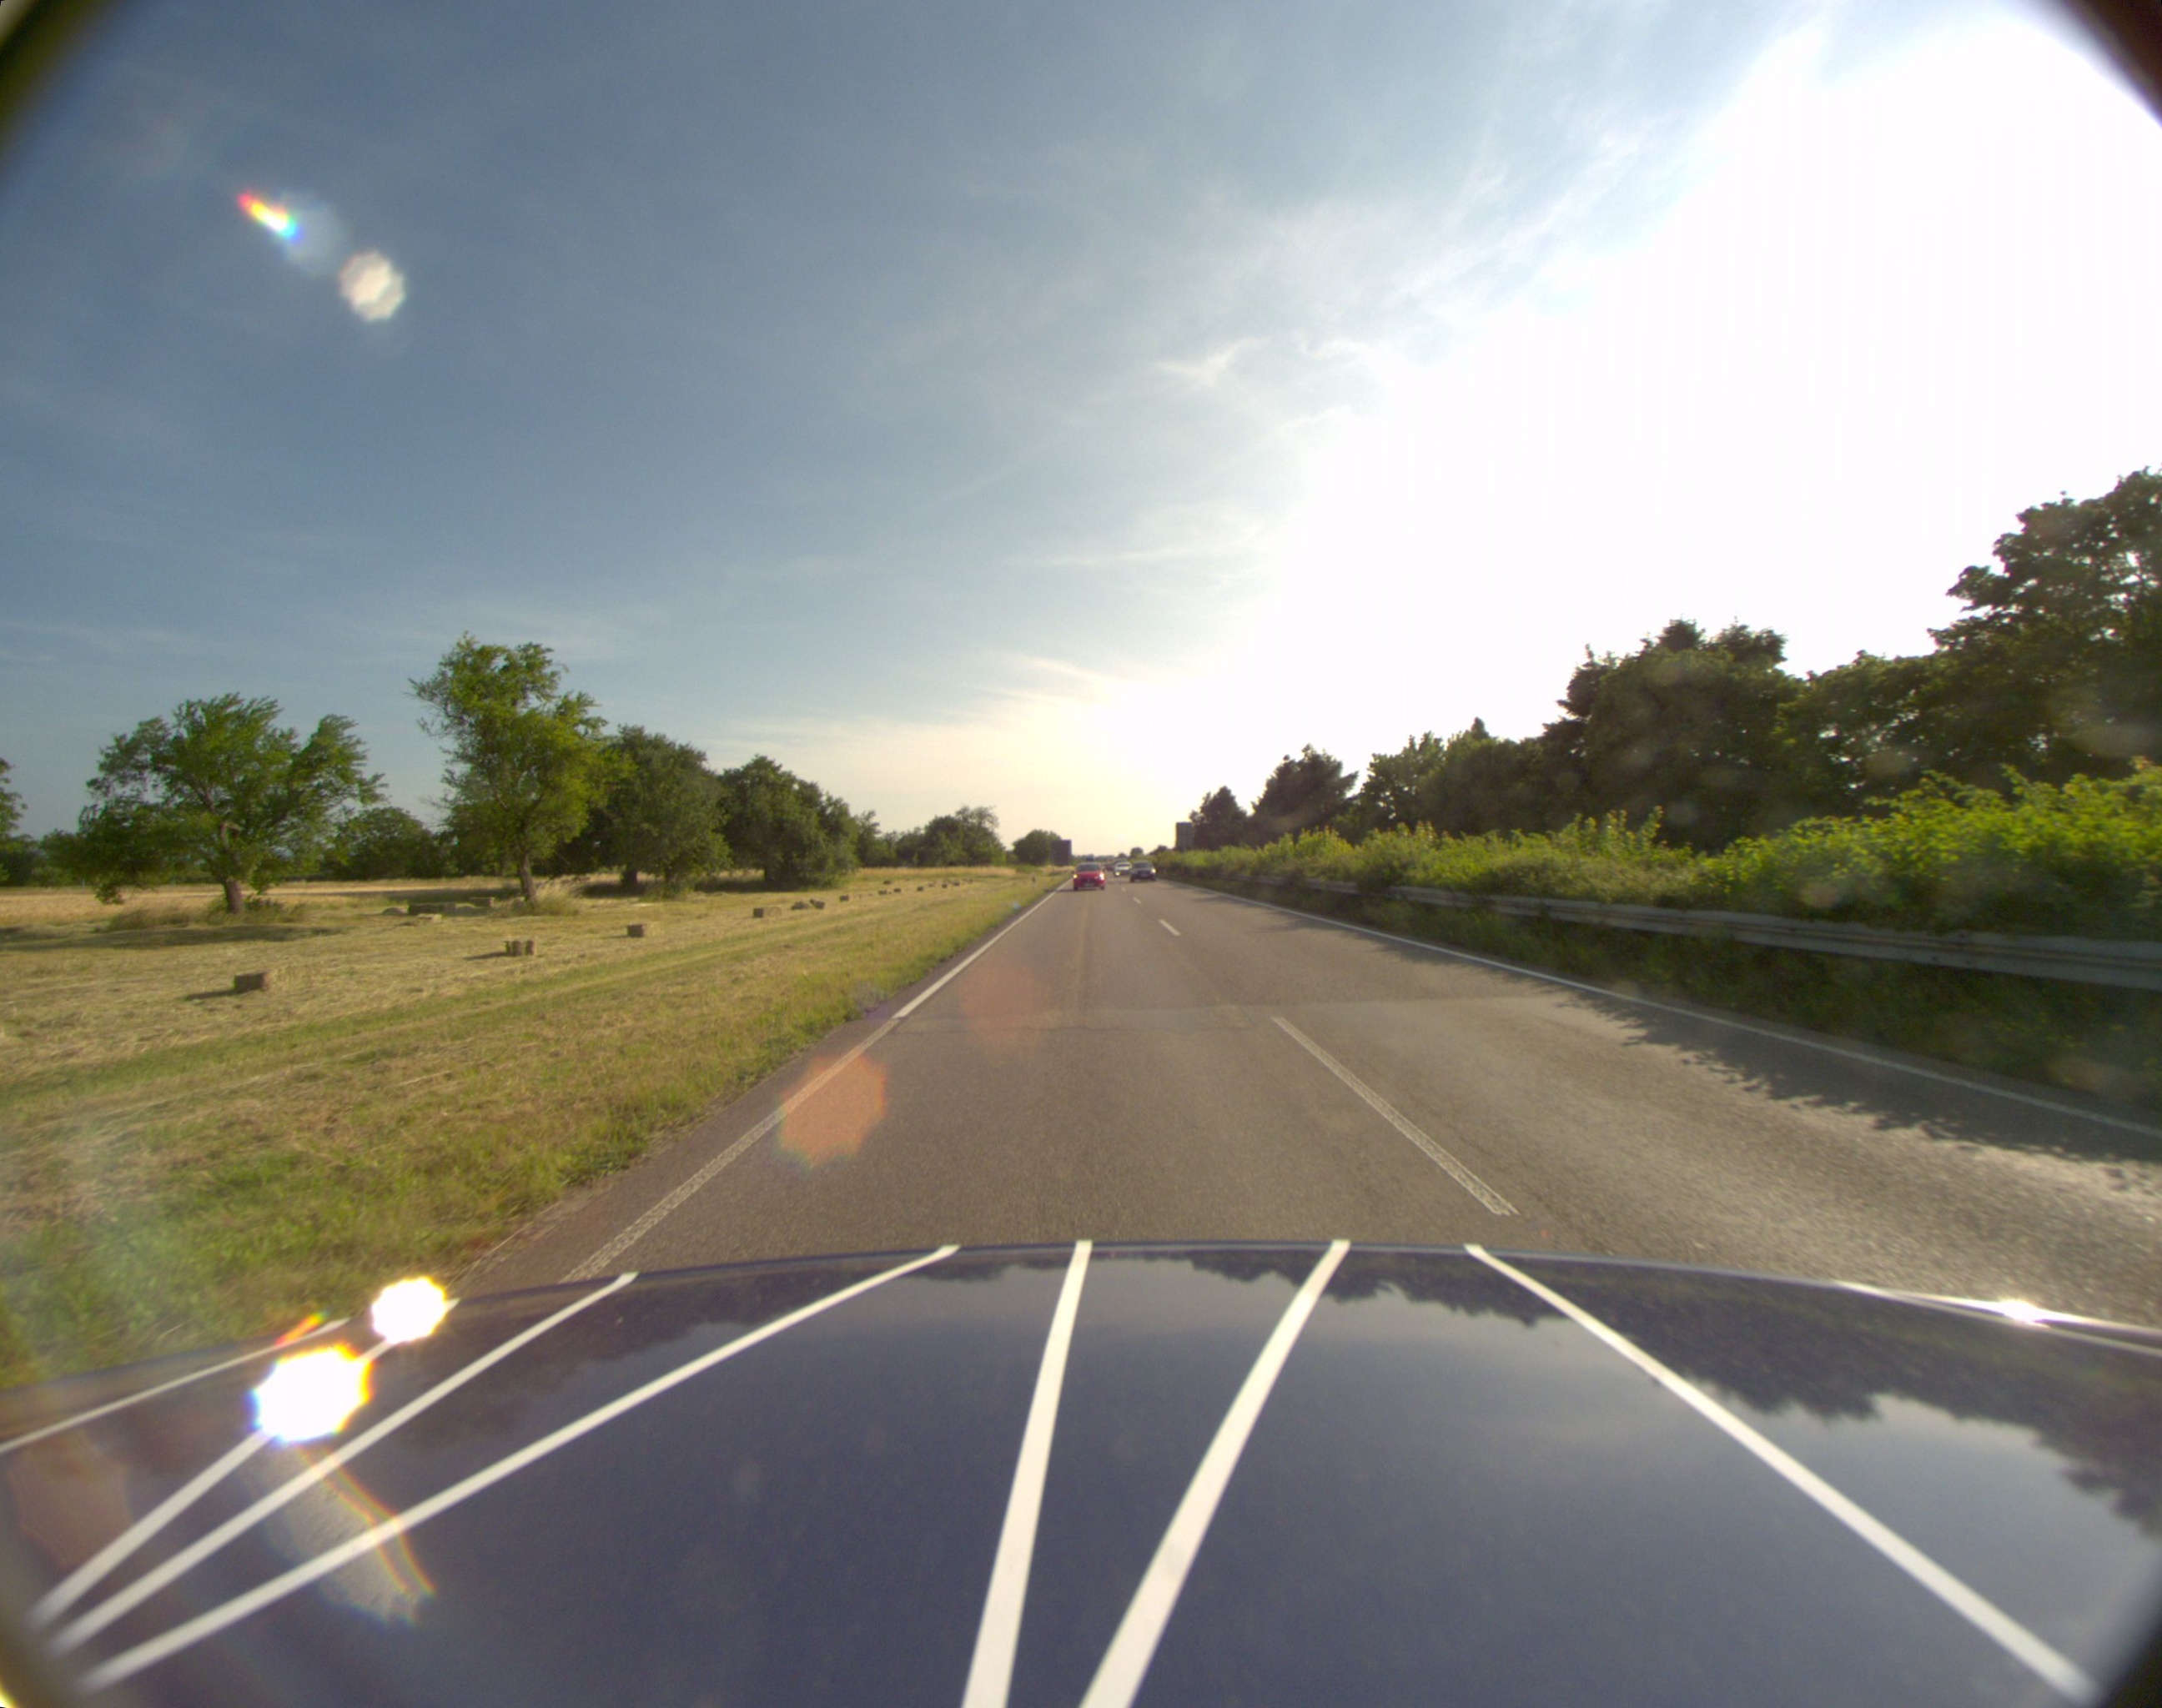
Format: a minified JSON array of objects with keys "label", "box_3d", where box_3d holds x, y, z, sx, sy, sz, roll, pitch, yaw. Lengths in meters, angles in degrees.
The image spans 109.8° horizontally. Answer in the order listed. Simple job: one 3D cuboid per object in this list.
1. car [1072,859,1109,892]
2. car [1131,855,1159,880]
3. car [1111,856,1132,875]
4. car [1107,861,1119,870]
[{"label":"car","box_3d":[0.568,1.103,40.503,1.821,1.564,4.001,-2,0,2]},{"label":"car","box_3d":[4.494,0.933,54.044,1.693,1.695,4.001,-2,0,2]},{"label":"car","box_3d":[4.088,1.136,77.335,1.998,1.762,4.001,-2,0,2]},{"label":"car","box_3d":[5.532,1.983,131.135,1.998,1.411,4.001,-2,0,2]}]
